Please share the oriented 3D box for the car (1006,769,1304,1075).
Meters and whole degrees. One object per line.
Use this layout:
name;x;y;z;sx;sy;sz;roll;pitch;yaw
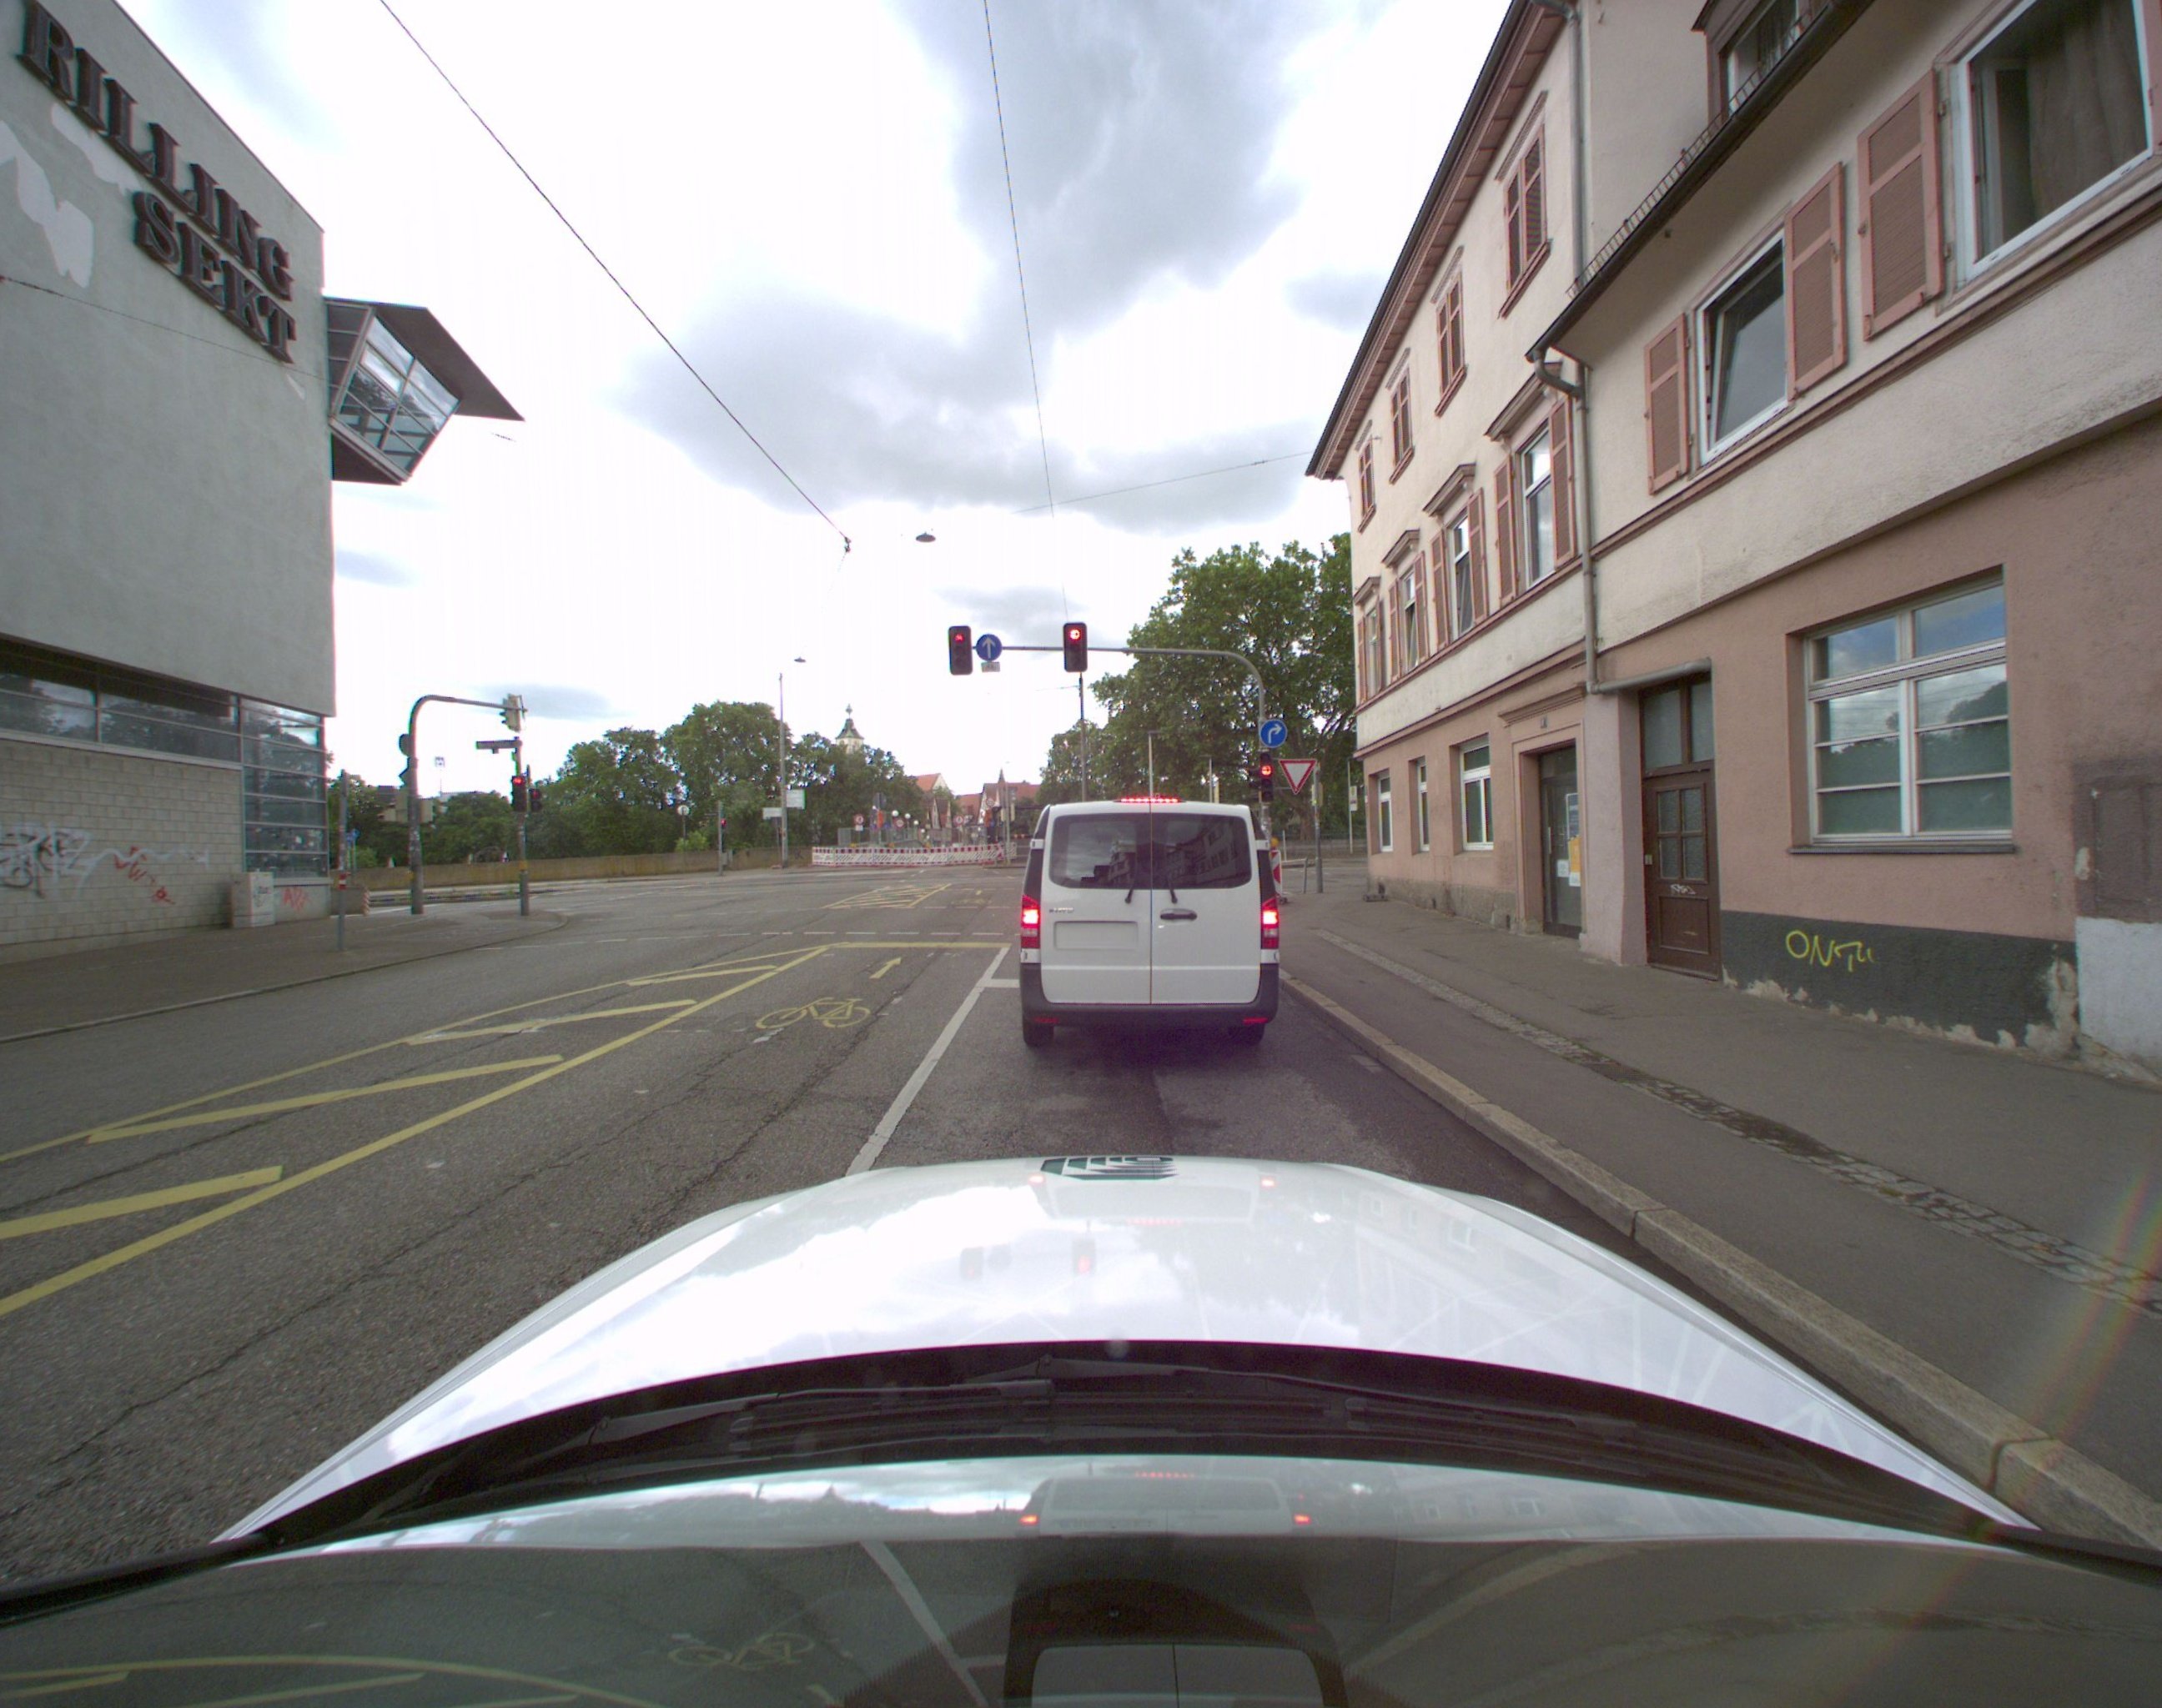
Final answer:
car;0.564;0.396;7.717;1.943;2.013;4.700;0;1;2
